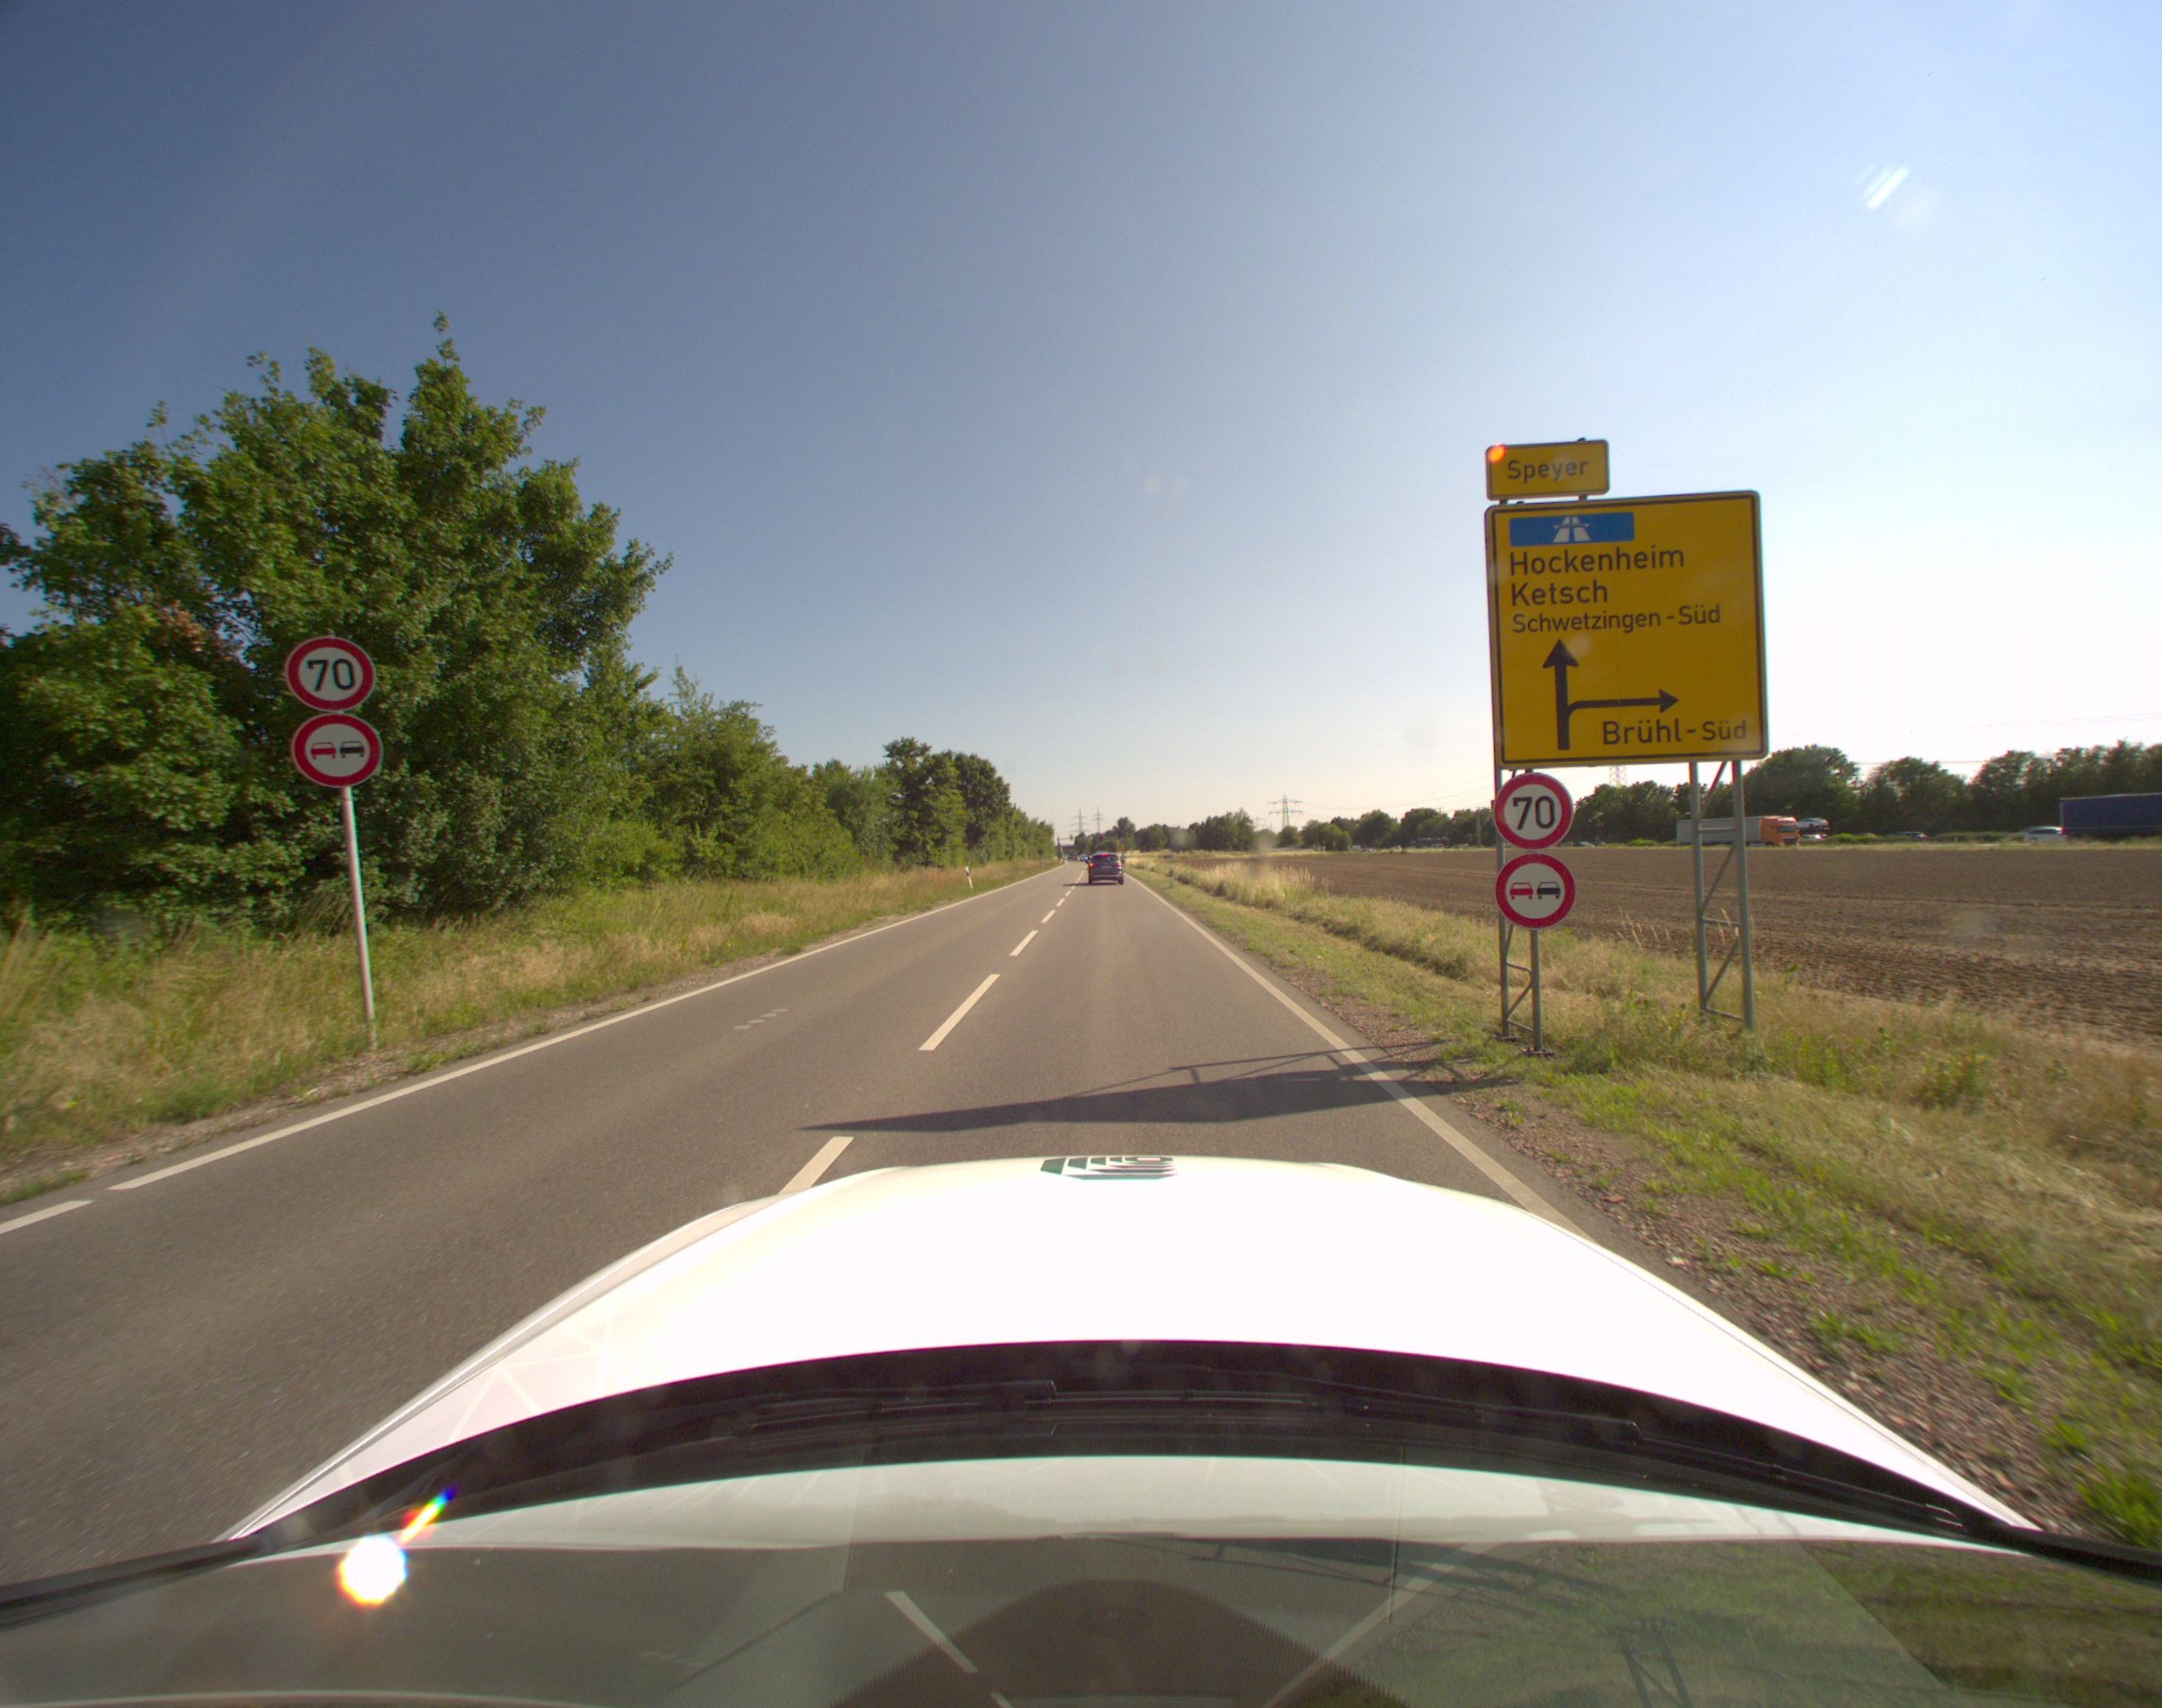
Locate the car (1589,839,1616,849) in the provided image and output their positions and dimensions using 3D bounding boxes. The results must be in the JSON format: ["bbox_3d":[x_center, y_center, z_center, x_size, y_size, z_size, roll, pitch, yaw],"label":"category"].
[{"bbox_3d":[89.026,-1.749,139.032,1.898,1.612,4.476,0,0,3],"label":"car"}]

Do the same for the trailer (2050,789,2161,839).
[{"bbox_3d":[84.339,-3.066,62.276,3.062,3.802,14.589,-1,1,-1],"label":"trailer"}]

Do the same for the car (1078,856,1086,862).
[{"bbox_3d":[0.311,1.214,209.455,1.812,1.540,3.996,-2,0,-3],"label":"car"}]

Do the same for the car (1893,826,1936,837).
[{"bbox_3d":[96.526,-2.580,94.385,1.389,1.151,3.583,0,0,1],"label":"car"}]

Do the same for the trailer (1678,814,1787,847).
[{"bbox_3d":[84.815,-2.954,106.552,3.094,3.849,13.714,-1,0,-1],"label":"trailer"}]

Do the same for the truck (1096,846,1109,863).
[{"bbox_3d":[4.187,0.107,155.559,2.329,3.066,5.811,-1,-1,2],"label":"truck"}]

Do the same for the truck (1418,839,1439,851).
[{"bbox_3d":[102.666,-2.588,240.625,3.274,3.267,6.427,-2,0,0],"label":"truck"}]

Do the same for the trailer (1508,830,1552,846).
[{"bbox_3d":[104.004,-3.598,188.890,3.274,3.267,12.453,-2,0,0],"label":"trailer"}]

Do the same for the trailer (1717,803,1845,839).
[{"bbox_3d":[103.391,-4.752,121.036,3.411,4.452,17.555,-2,0,-1],"label":"trailer"}]

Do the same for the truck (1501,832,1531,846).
[{"bbox_3d":[103.946,-3.562,194.889,3.274,3.267,6.977,-2,0,0],"label":"truck"}]

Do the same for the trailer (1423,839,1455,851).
[{"bbox_3d":[102.685,-2.550,234.031,3.274,3.267,13.450,-2,0,0],"label":"trailer"}]

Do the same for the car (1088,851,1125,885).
[{"bbox_3d":[1.265,0.675,41.887,1.779,1.629,4.000,-2,0,1],"label":"car"}]

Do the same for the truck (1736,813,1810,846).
[{"bbox_3d":[84.866,-2.961,100.013,3.094,3.849,6.948,-1,0,-1],"label":"truck"}]
